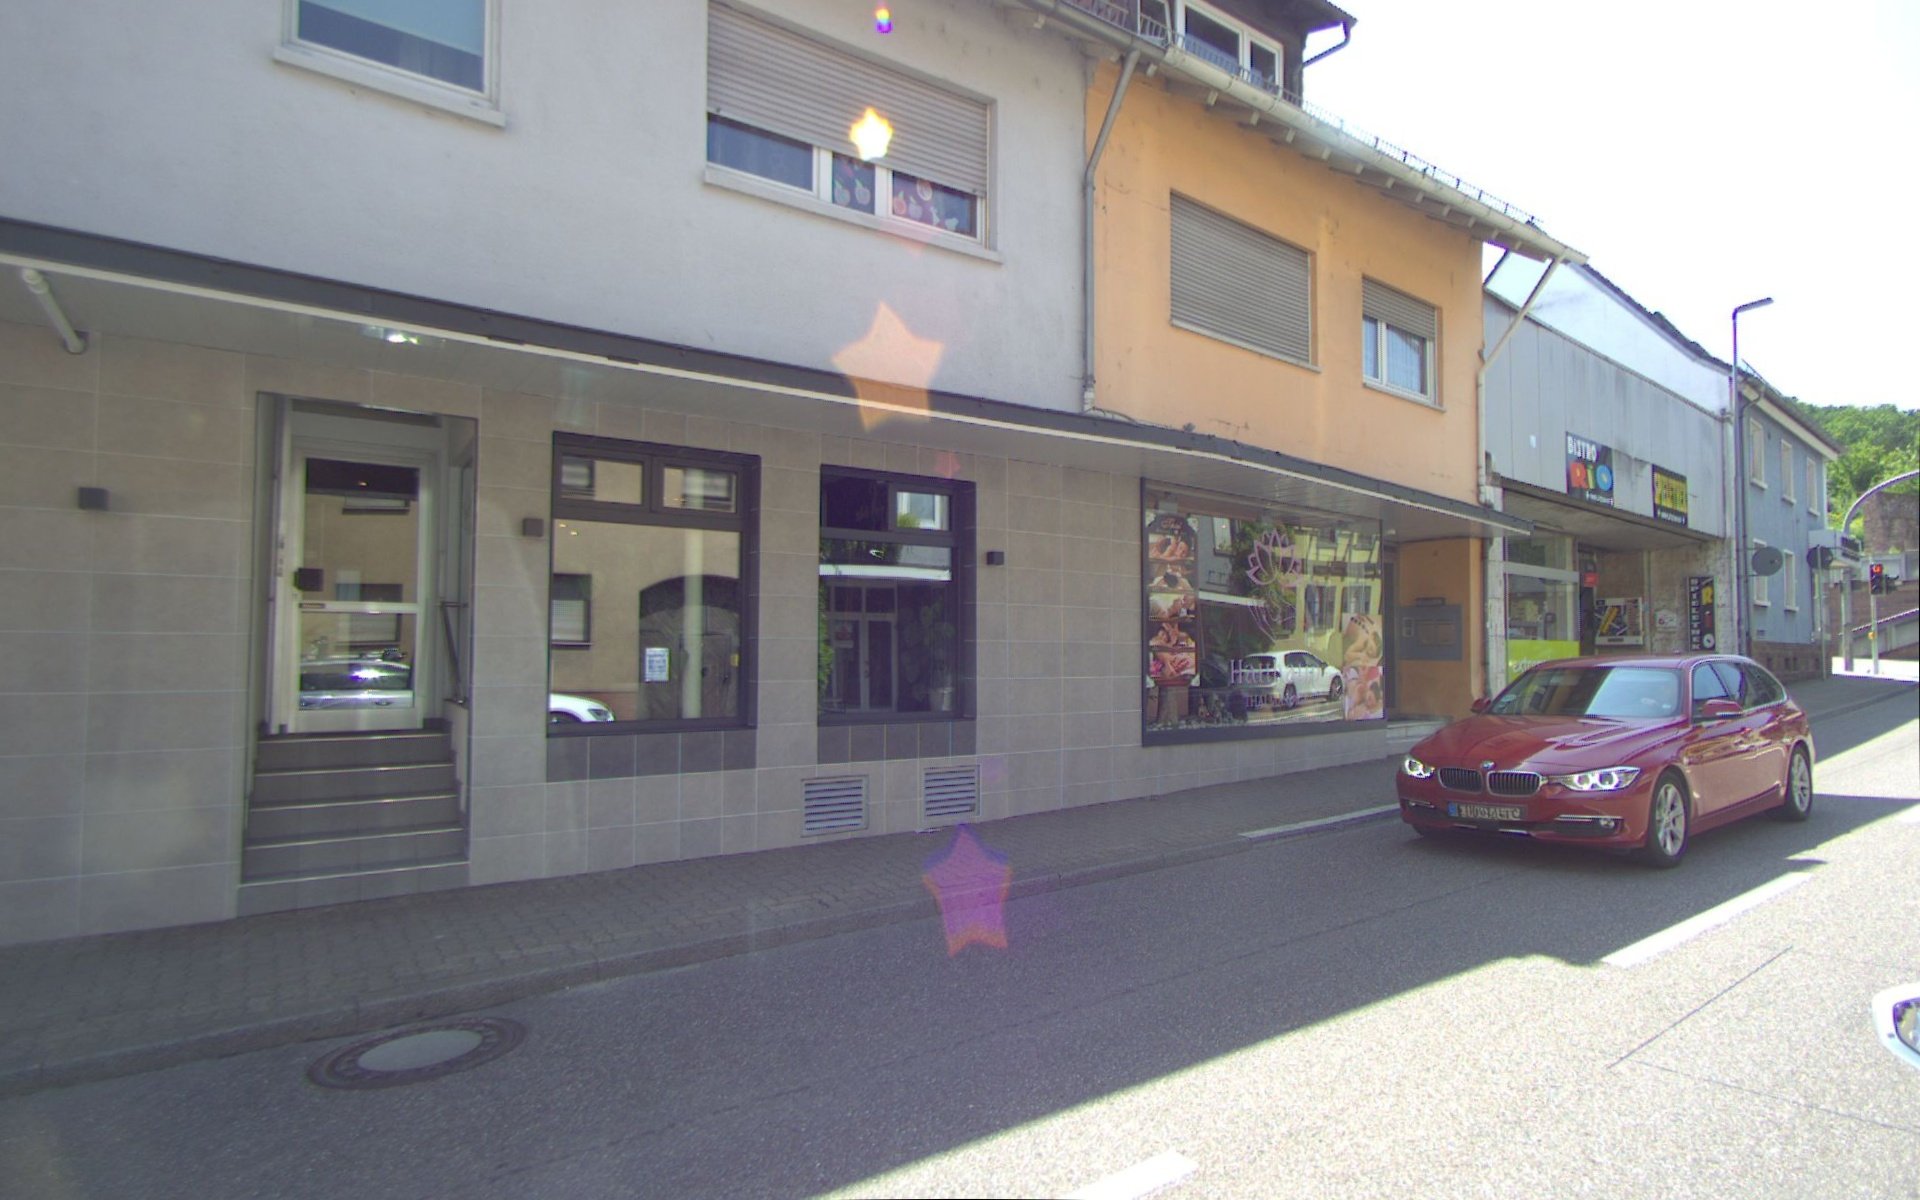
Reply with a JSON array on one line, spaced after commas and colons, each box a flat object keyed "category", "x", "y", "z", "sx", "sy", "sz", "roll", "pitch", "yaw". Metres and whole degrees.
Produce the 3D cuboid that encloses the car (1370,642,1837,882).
[{"category": "car", "x": 5.396, "y": 1.131, "z": 8.245, "sx": 4.242, "sy": 1.427, "sz": 1.707, "roll": 0, "pitch": -4, "yaw": -35}]
